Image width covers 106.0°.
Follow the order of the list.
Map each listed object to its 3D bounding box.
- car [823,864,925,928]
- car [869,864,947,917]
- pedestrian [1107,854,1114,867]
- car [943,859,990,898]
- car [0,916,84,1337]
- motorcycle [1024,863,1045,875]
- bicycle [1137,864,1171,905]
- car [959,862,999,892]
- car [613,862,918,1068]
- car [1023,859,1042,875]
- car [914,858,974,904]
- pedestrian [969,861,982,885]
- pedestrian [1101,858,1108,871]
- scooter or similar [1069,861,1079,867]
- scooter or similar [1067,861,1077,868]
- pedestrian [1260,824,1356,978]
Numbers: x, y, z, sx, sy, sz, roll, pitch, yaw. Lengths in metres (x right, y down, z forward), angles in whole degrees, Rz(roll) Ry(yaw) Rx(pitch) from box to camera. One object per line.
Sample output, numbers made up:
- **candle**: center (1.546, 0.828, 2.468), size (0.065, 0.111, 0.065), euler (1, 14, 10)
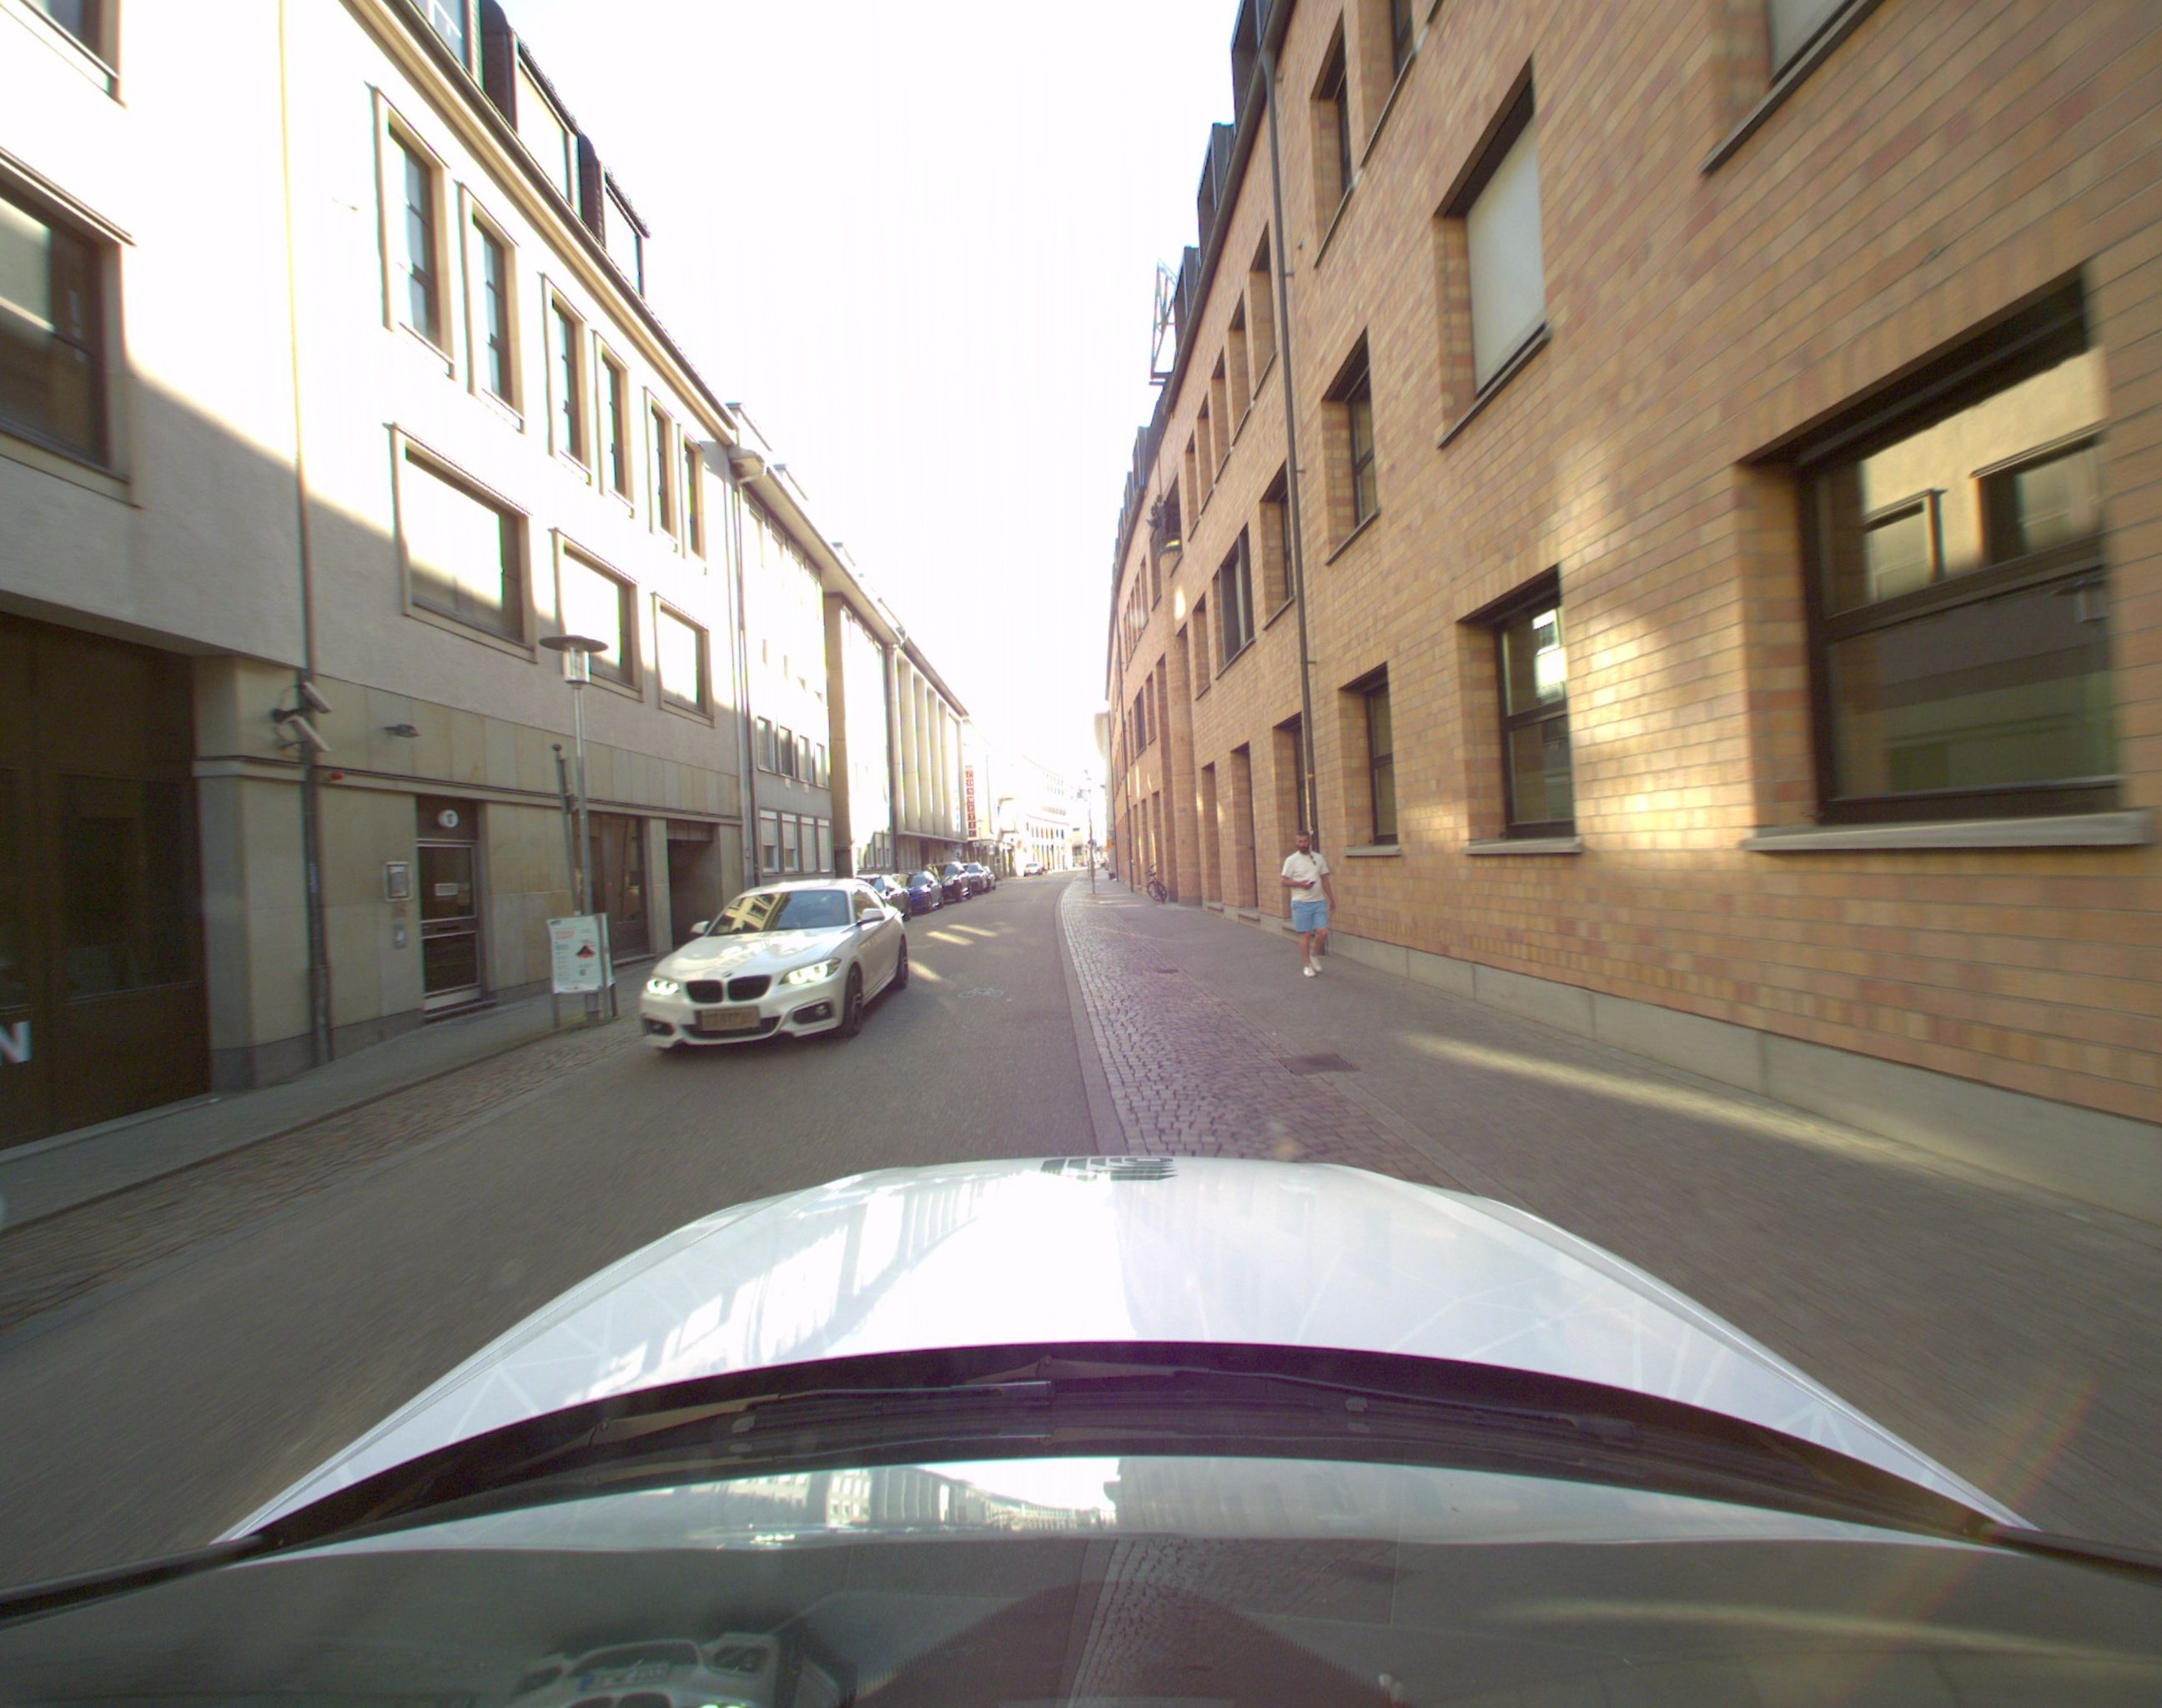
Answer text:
- **car**: center (-5.836, 1.126, 23.540), size (1.886, 1.530, 4.723), euler (-3, 0, -3)
- **car**: center (-5.895, 1.187, 28.233), size (1.886, 1.530, 4.335), euler (-4, 0, -3)
- **pedestrian**: center (4.129, 0.900, 115.629), size (0.663, 1.869, 0.753), euler (0, -2, -30)
- **car**: center (-5.797, 1.206, 41.697), size (1.886, 1.742, 4.386), euler (-4, 0, -3)
- **car**: center (-4.692, 1.072, 1.277), size (1.667, 1.522, 3.768), euler (-5, 0, -6)
- **motorcycle**: center (-5.597, 1.791, 98.556), size (2.383, 1.317, 0.862), euler (-4, 0, 0)
- **bicycle**: center (2.137, 0.874, 24.073), size (0.549, 1.103, 1.978), euler (-6, 0, -5)
- **car**: center (-5.822, 1.290, 46.962), size (1.643, 1.460, 3.999), euler (-6, 0, 0)
- **car**: center (-2.949, 0.909, 8.642), size (1.711, 1.517, 4.155), euler (-4, 0, -3)
- **car**: center (-5.171, 1.333, 87.472), size (1.730, 1.606, 3.533), euler (-2, 0, 1)
- **car**: center (-5.738, 1.073, 34.525), size (1.886, 1.675, 4.548), euler (-4, 0, -3)
- **pedestrian**: center (-7.423, 1.353, 57.387), size (0.650, 1.625, 0.452), euler (-2, -1, -41)
- **pedestrian**: center (3.453, 1.539, 120.667), size (0.663, 1.869, 0.779), euler (0, -2, -30)
- **scooter or similar**: center (-1.147, 1.619, 133.623), size (0.520, 0.928, 2.241), euler (-2, 0, 30)
- **scooter or similar**: center (-1.495, 1.669, 130.291), size (0.520, 0.928, 2.241), euler (-2, 0, 30)
- **pedestrian**: center (2.713, 0.539, 9.808), size (0.759, 1.716, 0.820), euler (-5, 0, -4)
